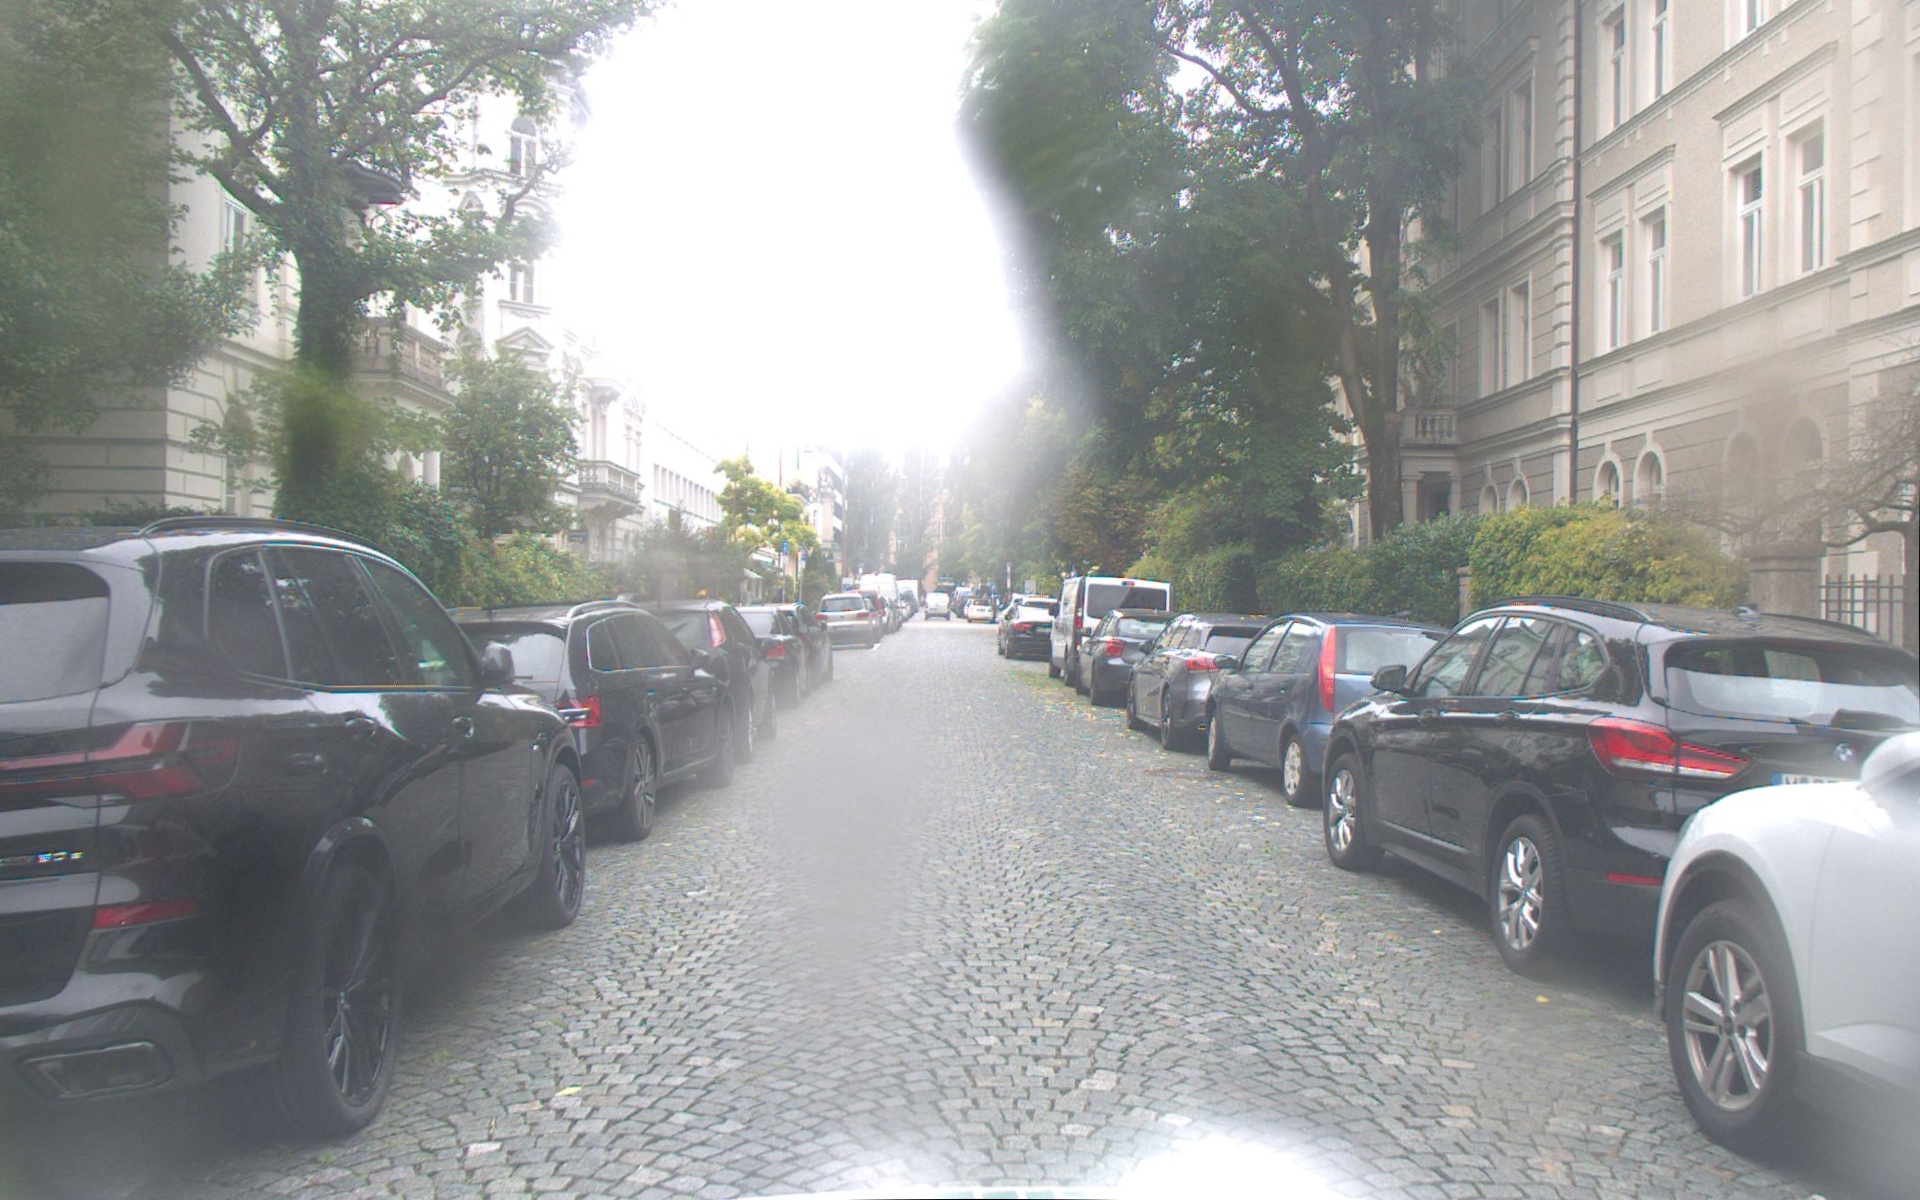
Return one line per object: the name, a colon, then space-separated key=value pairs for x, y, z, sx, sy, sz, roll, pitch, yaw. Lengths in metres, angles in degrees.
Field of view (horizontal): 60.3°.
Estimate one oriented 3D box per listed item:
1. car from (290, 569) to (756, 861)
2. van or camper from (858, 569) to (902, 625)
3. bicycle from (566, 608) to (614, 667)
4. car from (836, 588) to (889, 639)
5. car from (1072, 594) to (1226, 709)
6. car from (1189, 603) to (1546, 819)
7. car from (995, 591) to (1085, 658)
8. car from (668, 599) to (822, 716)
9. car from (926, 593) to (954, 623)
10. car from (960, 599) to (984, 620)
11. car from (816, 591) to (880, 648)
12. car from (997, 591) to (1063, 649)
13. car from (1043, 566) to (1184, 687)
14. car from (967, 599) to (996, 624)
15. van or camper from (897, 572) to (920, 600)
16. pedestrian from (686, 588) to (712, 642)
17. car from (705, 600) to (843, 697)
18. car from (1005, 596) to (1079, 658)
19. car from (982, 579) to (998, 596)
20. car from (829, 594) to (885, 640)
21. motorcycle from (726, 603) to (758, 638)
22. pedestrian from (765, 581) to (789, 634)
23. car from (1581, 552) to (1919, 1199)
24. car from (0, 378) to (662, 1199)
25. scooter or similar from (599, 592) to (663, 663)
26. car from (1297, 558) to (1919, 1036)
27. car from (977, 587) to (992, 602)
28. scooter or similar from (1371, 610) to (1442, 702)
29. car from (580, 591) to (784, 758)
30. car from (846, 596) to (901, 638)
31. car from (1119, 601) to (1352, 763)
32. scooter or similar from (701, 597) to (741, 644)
car: x=-2.746 y=0.634 z=11.729 sx=1.938 sy=1.588 sz=5.017 roll=-1 pitch=0 yaw=0
van or camper: x=-4.014 y=-0.166 z=83.619 sx=1.953 sy=2.698 sz=4.000 roll=-2 pitch=0 yaw=0
bicycle: x=-7.535 y=0.744 z=33.765 sx=0.565 sy=1.142 sz=2.050 roll=1 pitch=0 yaw=-2
car: x=-3.687 y=0.510 z=63.335 sx=1.835 sy=1.807 sz=4.121 roll=-3 pitch=0 yaw=-2
car: x=2.819 y=0.729 z=25.547 sx=1.799 sy=1.516 sz=4.421 roll=3 pitch=0 yaw=0
car: x=3.256 y=0.816 z=14.070 sx=1.661 sy=1.465 sz=4.057 roll=3 pitch=0 yaw=-5
car: x=2.043 y=0.604 z=43.213 sx=1.836 sy=1.529 sz=4.509 roll=3 pitch=0 yaw=-3
car: x=-3.007 y=0.758 z=23.957 sx=1.747 sy=1.442 sz=4.495 roll=-3 pitch=0 yaw=-2
car: x=-1.393 y=0.533 z=115.801 sx=1.953 sy=2.049 sz=4.000 roll=1 pitch=0 yaw=0
car: x=0.888 y=0.711 z=125.405 sx=1.753 sy=1.547 sz=4.000 roll=1 pitch=0 yaw=0
car: x=-3.415 y=0.575 z=50.971 sx=1.836 sy=1.607 sz=4.253 roll=-2 pitch=0 yaw=-3
car: x=2.294 y=0.638 z=55.030 sx=1.835 sy=1.763 sz=4.592 roll=3 pitch=0 yaw=-1
car: x=2.775 y=0.453 z=31.041 sx=1.836 sy=1.962 sz=5.161 roll=3 pitch=0 yaw=-3
car: x=1.324 y=0.736 z=104.796 sx=1.753 sy=1.547 sz=4.000 roll=1 pitch=0 yaw=0
van or camper: x=-5.230 y=-1.419 z=168.162 sx=2.210 sy=2.790 sz=5.097 roll=1 pitch=0 yaw=-1
pedestrian: x=-8.488 y=0.478 z=53.778 sx=0.703 sy=1.717 sz=0.695 roll=1 pitch=0 yaw=-2
car: x=-3.139 y=0.776 z=28.714 sx=1.848 sy=1.442 sz=4.406 roll=-3 pitch=0 yaw=0
car: x=2.357 y=0.753 z=48.466 sx=1.781 sy=1.607 sz=4.206 roll=4 pitch=0 yaw=-2
car: x=3.777 y=-1.552 z=207.742 sx=1.953 sy=2.049 sz=3.999 roll=1 pitch=0 yaw=0
car: x=-3.534 y=0.563 z=56.987 sx=1.836 sy=1.476 sz=4.205 roll=-1 pitch=0 yaw=-3
motorcycle: x=-7.745 y=0.713 z=58.802 sx=0.609 sy=1.217 sz=1.866 roll=1 pitch=0 yaw=8
pedestrian: x=-6.887 y=0.276 z=62.315 sx=0.776 sy=1.951 sz=0.758 roll=2 pitch=0 yaw=-1
car: x=3.091 y=0.698 z=3.477 sx=1.835 sy=1.516 sz=4.617 roll=3 pitch=0 yaw=1
car: x=-2.527 y=0.531 z=6.184 sx=1.953 sy=1.950 sz=5.175 roll=-3 pitch=0 yaw=-2
scooter or similar: x=-7.225 y=0.581 z=36.464 sx=0.922 sy=1.467 sz=2.655 roll=2 pitch=0 yaw=-2
car: x=3.180 y=0.745 z=8.457 sx=1.835 sy=1.699 sz=4.656 roll=3 pitch=0 yaw=-1
car: x=3.429 y=-0.731 z=232.294 sx=1.953 sy=2.049 sz=3.999 roll=1 pitch=0 yaw=0
scooter or similar: x=6.427 y=0.789 z=23.848 sx=0.407 sy=1.256 sz=1.242 roll=-2 pitch=1 yaw=-12
car: x=-2.686 y=0.660 z=16.788 sx=1.629 sy=1.469 sz=4.168 roll=-1 pitch=0 yaw=-4
car: x=-3.571 y=0.677 z=68.668 sx=1.834 sy=1.607 sz=4.209 roll=3 pitch=0 yaw=2
car: x=2.928 y=0.811 z=18.450 sx=1.679 sy=1.498 sz=4.267 roll=3 pitch=0 yaw=-2
scooter or similar: x=-7.668 y=0.628 z=53.208 sx=0.922 sy=1.467 sz=2.656 roll=1 pitch=0 yaw=-1
